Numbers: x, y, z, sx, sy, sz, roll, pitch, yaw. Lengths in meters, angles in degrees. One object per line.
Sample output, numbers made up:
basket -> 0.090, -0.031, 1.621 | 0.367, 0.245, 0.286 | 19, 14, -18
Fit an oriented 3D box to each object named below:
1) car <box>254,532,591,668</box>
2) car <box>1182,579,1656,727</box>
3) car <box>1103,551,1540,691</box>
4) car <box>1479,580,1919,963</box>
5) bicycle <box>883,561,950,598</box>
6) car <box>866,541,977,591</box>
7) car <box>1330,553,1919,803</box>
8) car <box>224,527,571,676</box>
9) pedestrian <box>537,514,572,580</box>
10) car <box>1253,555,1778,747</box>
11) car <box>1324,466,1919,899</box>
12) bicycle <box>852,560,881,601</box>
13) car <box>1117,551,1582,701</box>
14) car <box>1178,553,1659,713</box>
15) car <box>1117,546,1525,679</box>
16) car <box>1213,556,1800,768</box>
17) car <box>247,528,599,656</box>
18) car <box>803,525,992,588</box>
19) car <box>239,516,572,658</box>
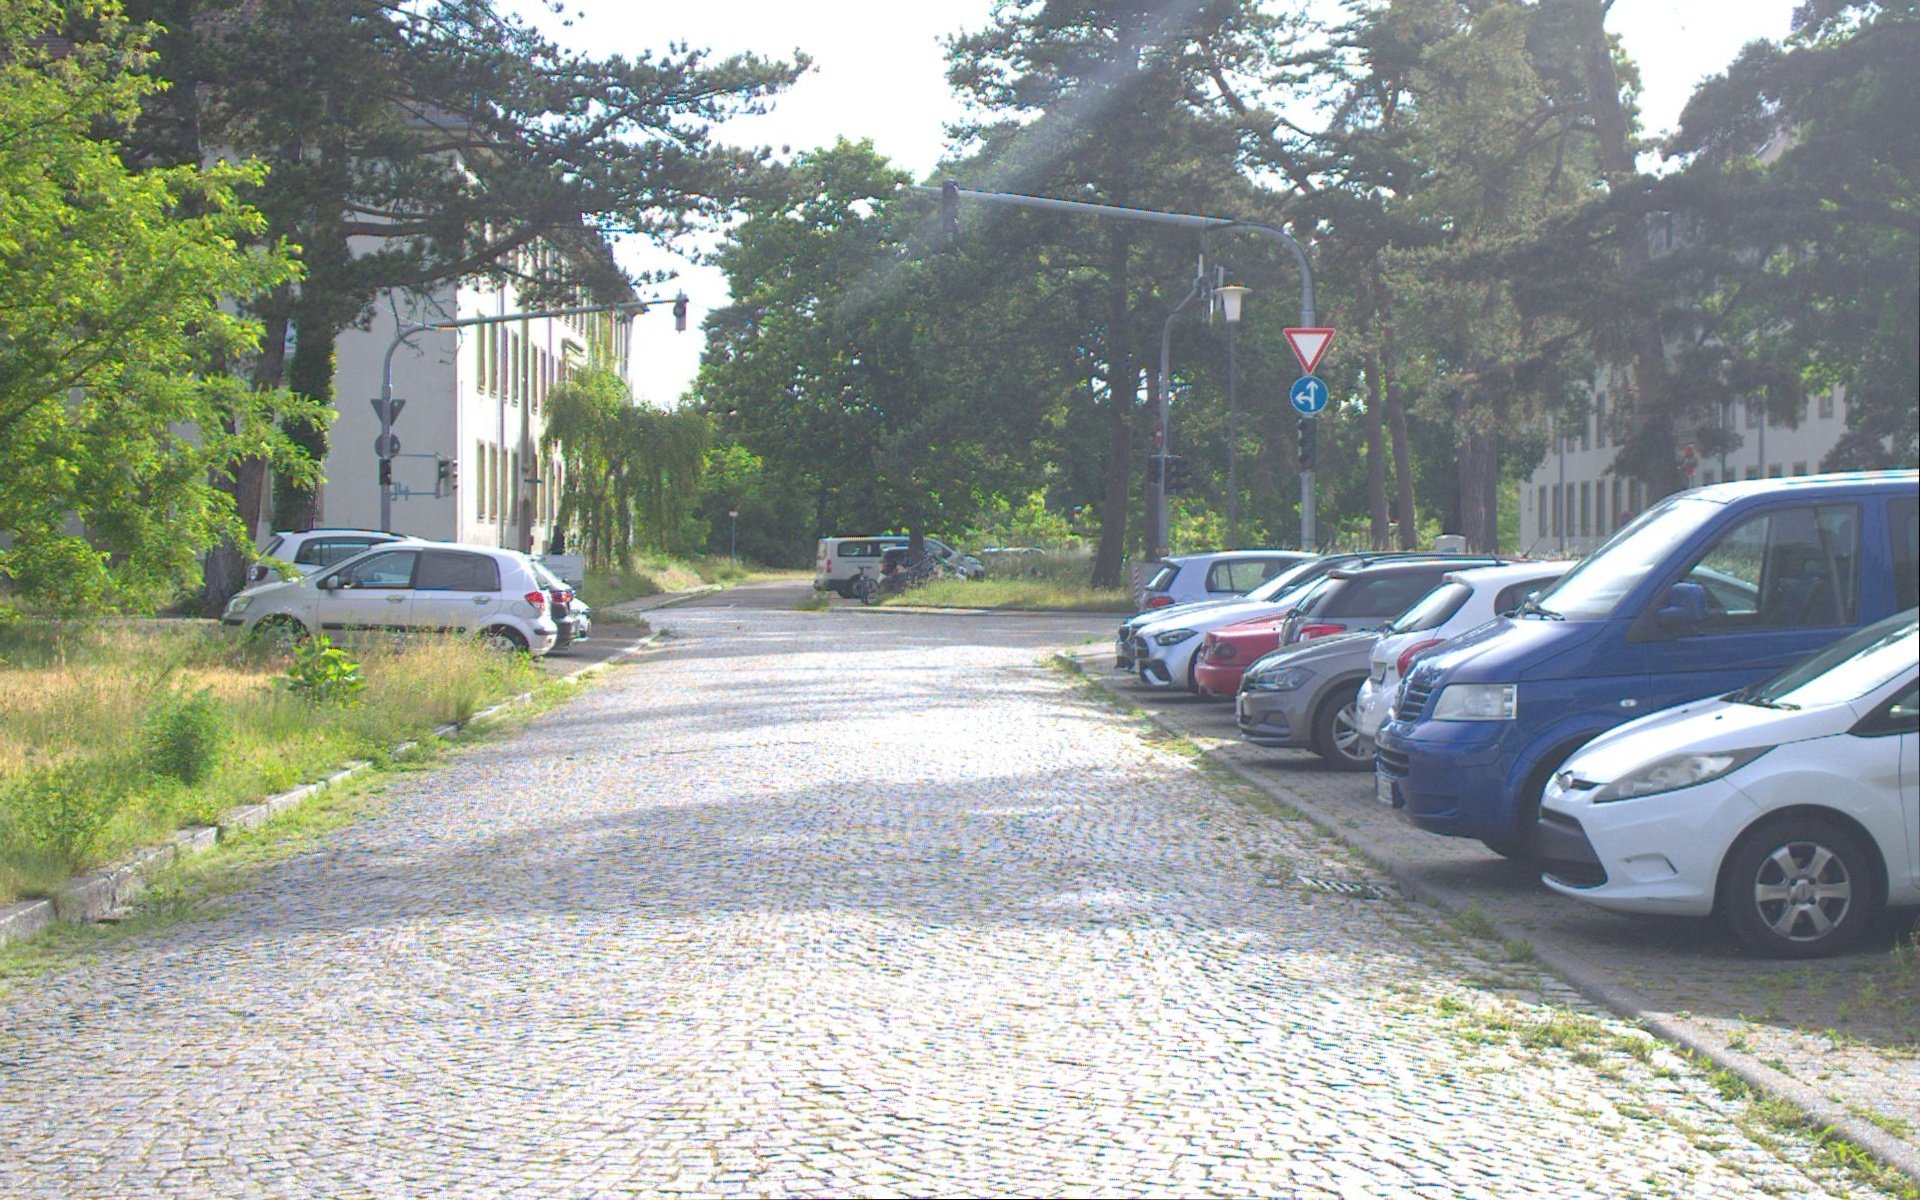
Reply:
car -> -6.537, -0.007, 42.157 | 3.828, 1.424, 1.859 | 3, 0, -2
car -> 4.028, 0.454, 30.597 | 3.951, 1.256, 1.727 | 0, 0, -1
car -> 3.953, 0.216, 38.023 | 4.506, 1.468, 1.895 | 0, 0, -5
car -> 4.442, 0.647, 14.318 | 4.190, 1.465, 1.808 | 0, 0, -5
bicycle -> -1.178, -0.558, 92.644 | 1.792, 0.995, 0.644 | 0, 2, -3
car -> -1.186, -1.011, 103.994 | 3.031, 1.460, 1.720 | 0, 0, -14
car -> 4.442, 0.474, 22.184 | 3.874, 1.525, 1.808 | 0, 0, -1
car -> -6.414, 0.011, 39.504 | 3.682, 1.468, 1.850 | 3, 0, -3
pedestrian -> -12.230, -1.597, 103.697 | 0.985, 1.956, 0.933 | 0, 0, -2
car -> 4.453, 0.397, 27.967 | 3.951, 1.490, 1.772 | 0, 0, -1
car -> 4.307, 0.340, 16.824 | 4.732, 1.922, 1.992 | -2, 0, -2
bicycle -> -2.397, -0.505, 88.002 | 0.728, 0.995, 1.799 | 0, 2, -2
car -> 3.932, 0.257, 35.243 | 4.506, 1.468, 1.850 | 0, 0, -2
car -> 4.344, 0.303, 32.982 | 4.340, 1.468, 1.740 | 0, 0, -2
car -> 4.219, 0.136, 40.655 | 4.543, 1.500, 1.933 | 0, 0, -3
car -> 3.906, 0.428, 25.029 | 3.951, 1.462, 1.831 | 0, 0, -1
car -> -7.346, -0.124, 47.375 | 4.586, 1.450, 1.904 | 3, 2, -4
car -> -1.970, -1.345, 107.540 | 5.499, 1.909, 2.255 | 0, 0, -15
car -> -7.171, -0.175, 44.835 | 4.120, 1.594, 1.859 | 3, 0, -6
